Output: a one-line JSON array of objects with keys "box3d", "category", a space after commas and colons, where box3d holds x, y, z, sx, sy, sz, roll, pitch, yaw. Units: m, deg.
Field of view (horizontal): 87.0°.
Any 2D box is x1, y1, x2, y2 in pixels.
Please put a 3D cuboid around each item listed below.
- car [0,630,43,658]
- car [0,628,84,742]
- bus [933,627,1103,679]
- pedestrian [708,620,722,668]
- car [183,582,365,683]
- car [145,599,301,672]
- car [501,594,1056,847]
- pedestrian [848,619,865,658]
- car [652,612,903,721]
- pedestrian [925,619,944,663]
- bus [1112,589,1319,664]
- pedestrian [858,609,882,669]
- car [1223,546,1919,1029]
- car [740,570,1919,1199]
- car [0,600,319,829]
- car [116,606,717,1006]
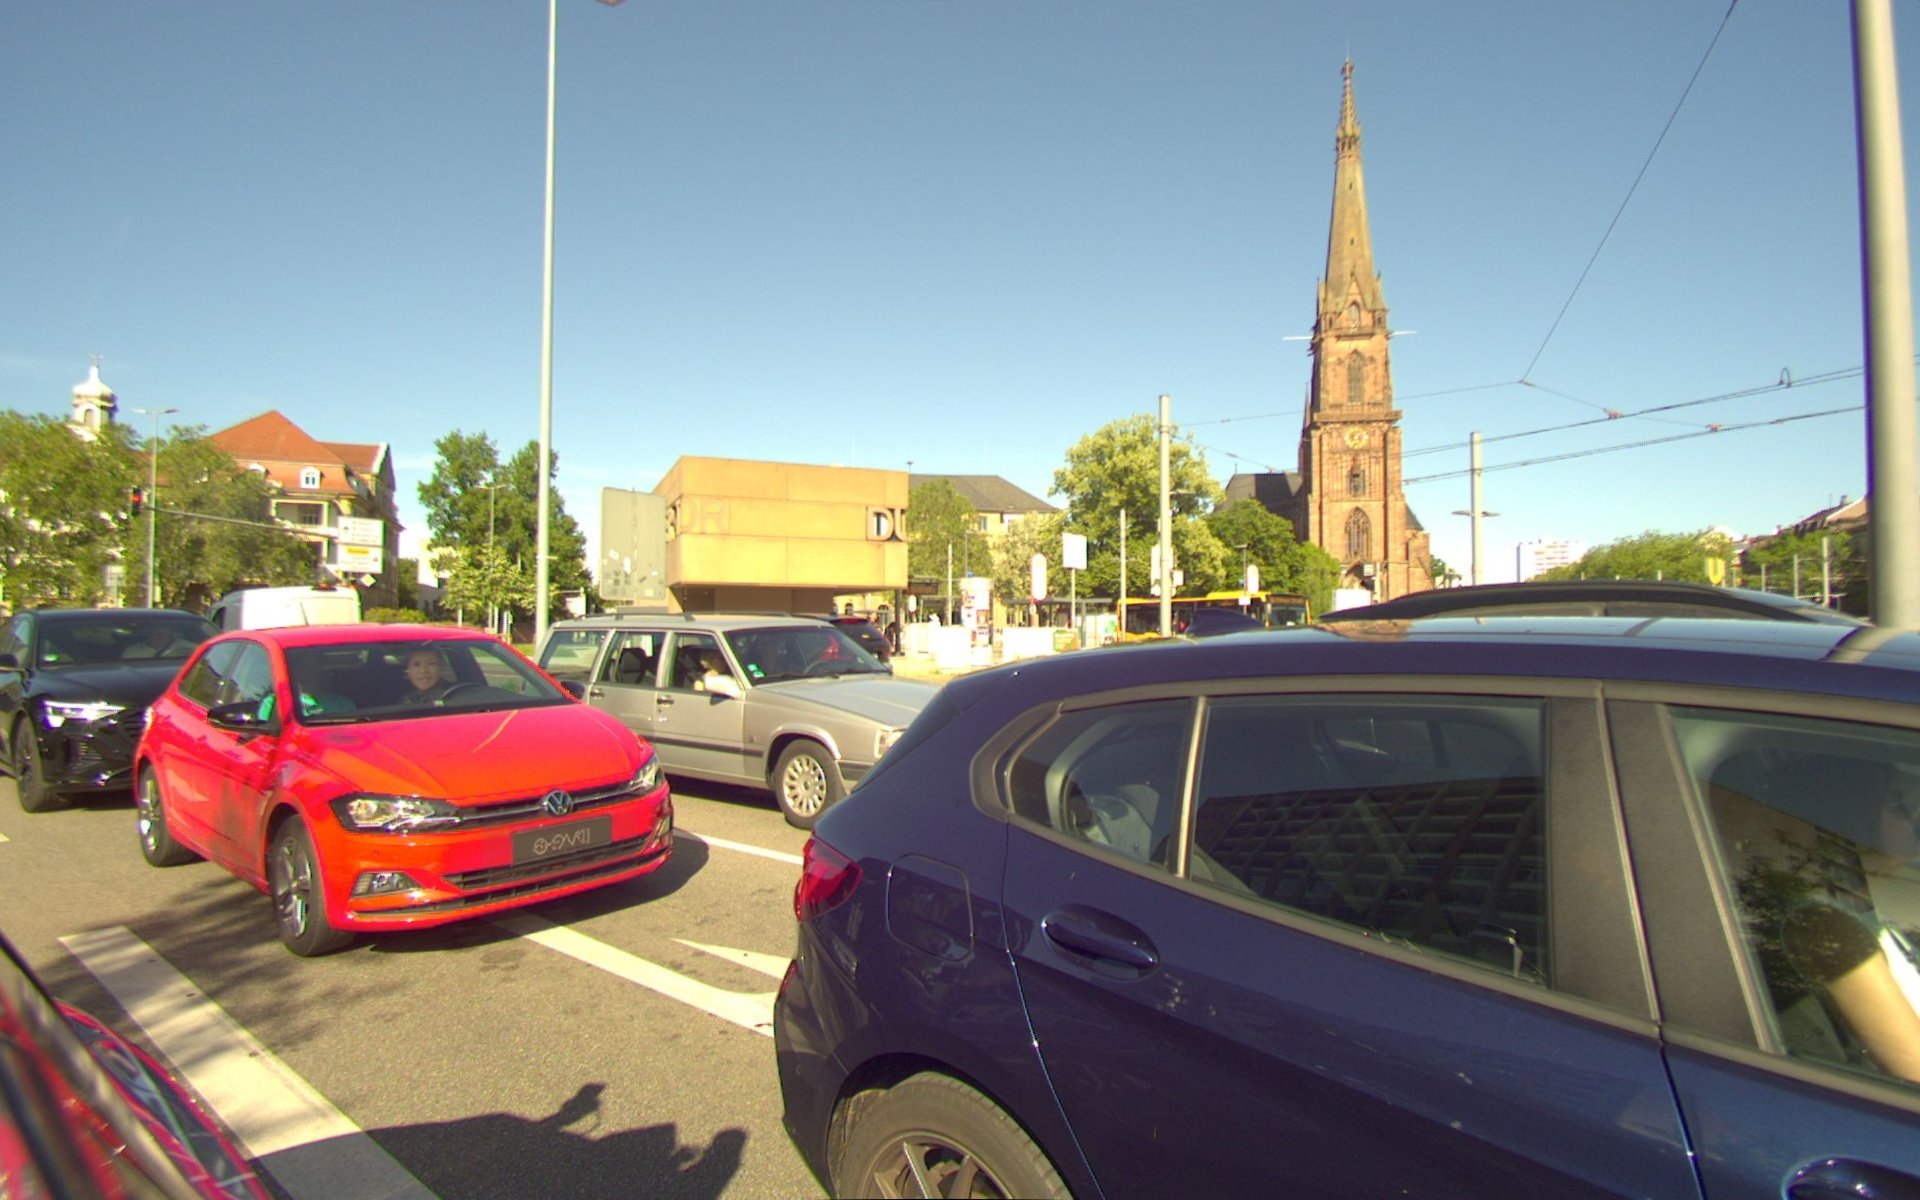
[{"box3d": [-42.930, 1.946, 44.384, 3.937, 1.214, 1.588, 2, -3, -41], "category": "car"}, {"box3d": [-13.618, 1.120, 13.880, 3.703, 1.429, 1.557, -1, -1, 34], "category": "car"}, {"box3d": [1.457, 1.334, 26.155, 4.174, 1.251, 1.627, -1, -2, 35], "category": "bus"}, {"box3d": [-9.322, 1.667, 38.495, 0.460, 1.789, 0.648, 0, -2, -21], "category": "pedestrian"}, {"box3d": [-18.623, 0.885, 27.419, 5.399, 2.527, 1.979, -1, -2, 31], "category": "car"}, {"box3d": [-25.383, 1.221, 34.781, 6.191, 2.331, 2.095, -1, -2, 31], "category": "car"}, {"box3d": [-1.700, 0.804, 8.226, 4.745, 1.484, 1.692, -3, 0, 38], "category": "car"}, {"box3d": [-4.747, 1.754, 46.539, 0.468, 1.789, 0.638, -2, -2, 36], "category": "pedestrian"}, {"box3d": [-3.163, 1.088, 17.387, 4.057, 1.672, 1.851, -1, -2, 31], "category": "car"}, {"box3d": [-1.037, 1.654, 41.030, 0.634, 1.789, 0.470, 1, -2, -29], "category": "pedestrian"}, {"box3d": [11.628, 1.316, 48.108, 2.715, 3.088, 12.201, 1, -2, -23], "category": "bus"}, {"box3d": [-2.777, 1.198, 31.341, 0.658, 1.802, 0.646, -1, -1, 2], "category": "pedestrian"}, {"box3d": [3.326, 0.608, 4.140, 4.010, 1.529, 1.738, -2, -2, 44], "category": "car"}, {"box3d": [1.618, 0.694, 1.347, 4.030, 1.456, 1.692, -1, -1, 42], "category": "car"}, {"box3d": [-7.818, 0.878, 9.314, 4.446, 1.628, 1.836, -1, -2, 38], "category": "car"}, {"box3d": [-3.221, 0.812, 5.665, 3.850, 1.484, 1.653, -2, -1, 40], "category": "car"}]
